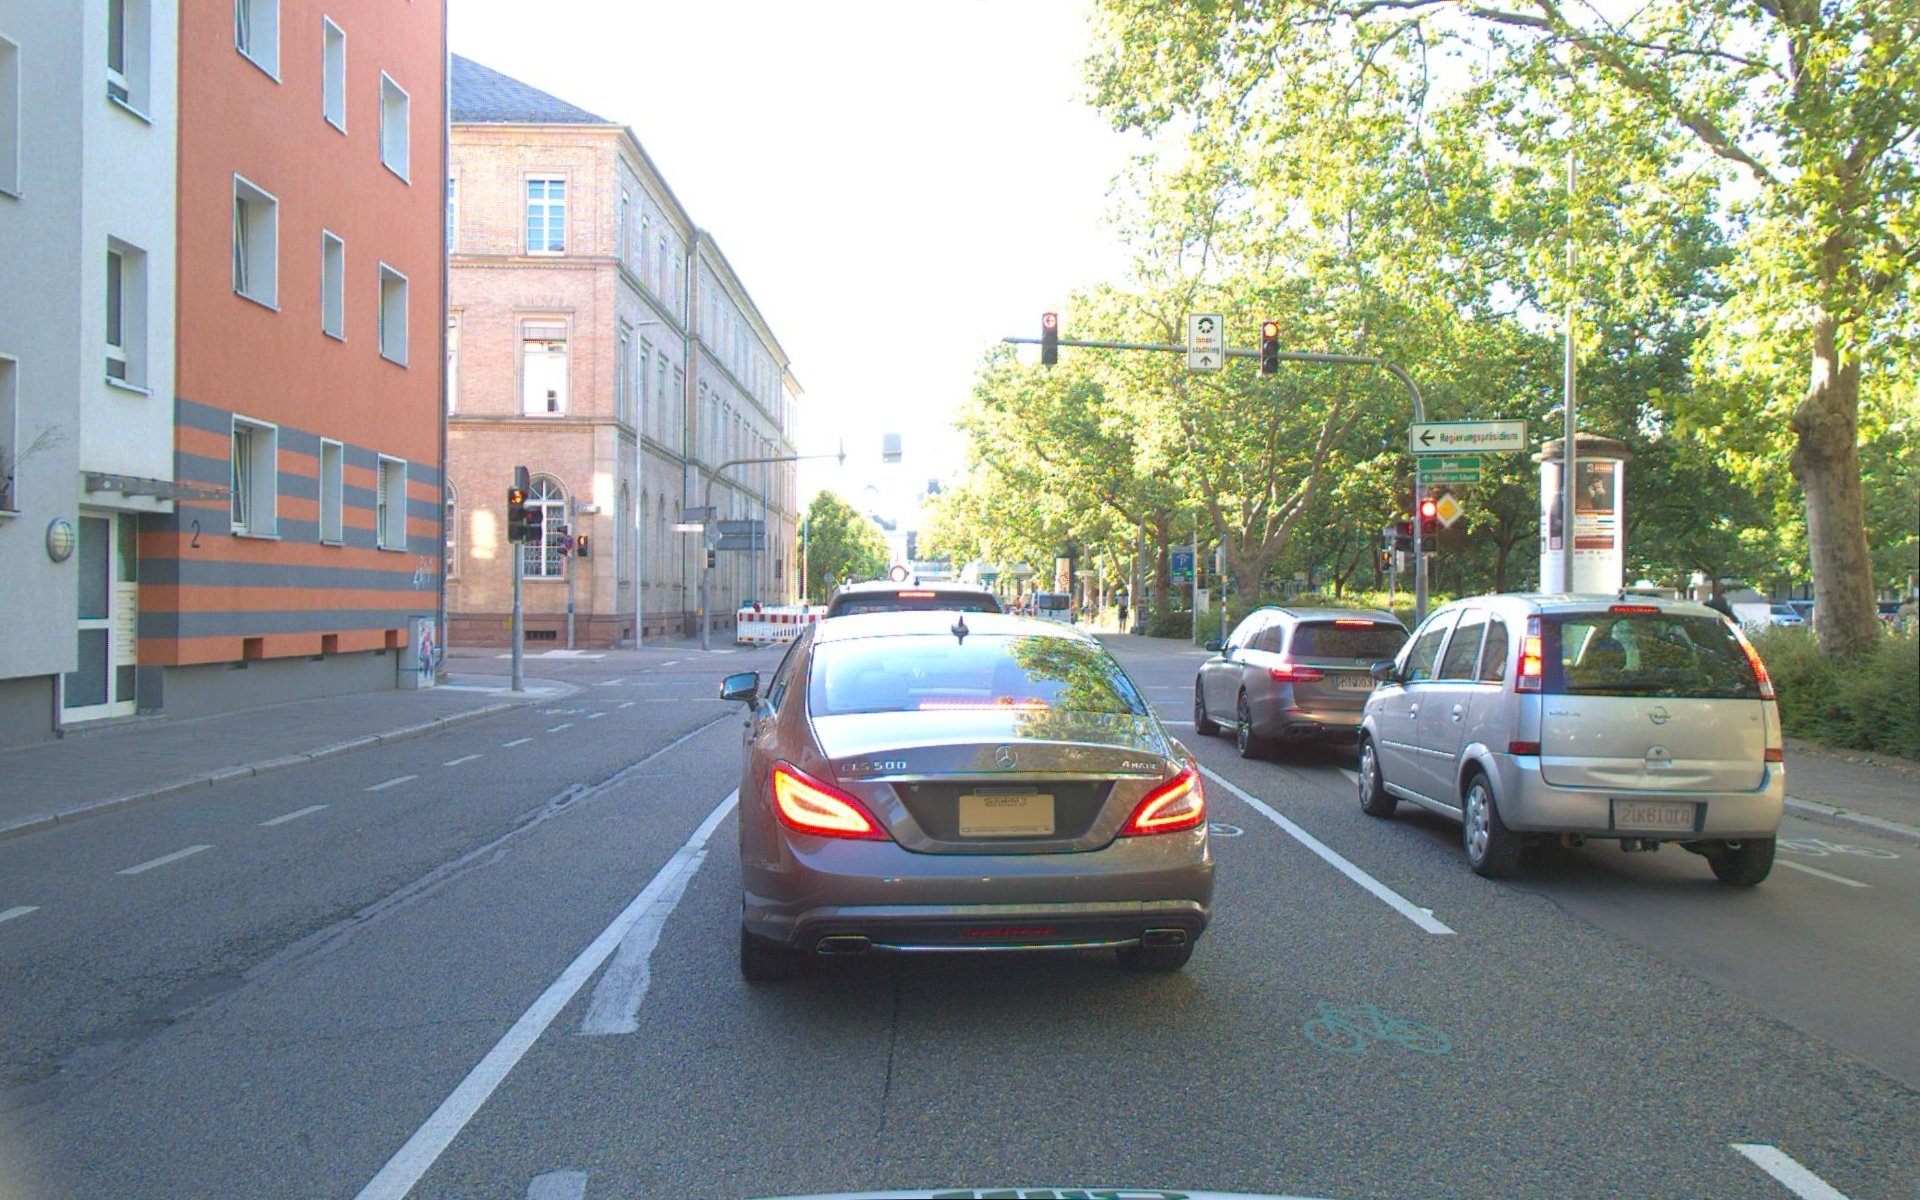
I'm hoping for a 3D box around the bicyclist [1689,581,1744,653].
[{"bbox_3d":[17.774,0.400,38.857,0.995,1.671,0.607,1,0,-7],"label":"bicyclist"}]

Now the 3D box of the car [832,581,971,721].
[{"bbox_3d":[-0.779,0.647,23.224,1.783,1.793,3.999,0,0,-1],"label":"car"}]

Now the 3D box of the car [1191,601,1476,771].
[{"bbox_3d":[3.754,0.788,17.491,1.874,1.490,4.668,2,0,-1],"label":"car"}]

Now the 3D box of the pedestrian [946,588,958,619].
[{"bbox_3d":[-0.496,0.221,108.059,0.710,2.049,0.748,1,0,-5],"label":"pedestrian"}]

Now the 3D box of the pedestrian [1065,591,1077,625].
[{"bbox_3d":[6.072,0.464,90.808,0.591,1.853,0.651,1,0,-1],"label":"pedestrian"}]

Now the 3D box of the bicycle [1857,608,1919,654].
[{"bbox_3d":[22.165,0.720,38.753,1.940,1.045,0.651,0,0,0],"label":"bicycle"}]

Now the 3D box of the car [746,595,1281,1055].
[{"bbox_3d":[-0.080,0.730,7.644,1.769,1.482,4.343,0,0,-8],"label":"car"}]

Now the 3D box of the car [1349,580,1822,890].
[{"bbox_3d":[3.792,0.713,10.758,1.666,1.631,3.860,1,0,1],"label":"car"}]

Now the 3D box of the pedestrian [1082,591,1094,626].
[{"bbox_3d":[6.989,0.461,90.568,0.591,1.853,0.651,1,0,-1],"label":"pedestrian"}]

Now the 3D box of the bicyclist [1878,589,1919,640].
[{"bbox_3d":[22.179,0.330,38.757,0.971,1.174,0.620,0,0,1],"label":"bicyclist"}]

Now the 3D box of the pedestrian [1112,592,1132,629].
[{"bbox_3d":[7.113,0.463,72.565,0.813,1.634,0.651,1,0,-1],"label":"pedestrian"}]

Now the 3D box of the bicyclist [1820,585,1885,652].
[{"bbox_3d":[20.410,0.418,37.838,1.094,1.516,0.711,0,0,-1],"label":"bicyclist"}]

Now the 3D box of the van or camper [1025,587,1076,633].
[{"bbox_3d":[4.014,0.444,73.991,1.953,1.975,4.593,1,0,-1],"label":"van or camper"}]

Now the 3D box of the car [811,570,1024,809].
[{"bbox_3d":[-0.389,0.633,13.650,1.487,1.675,3.878,1,0,-3],"label":"car"}]

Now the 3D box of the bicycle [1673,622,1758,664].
[{"bbox_3d":[17.743,1.009,38.853,1.760,0.963,0.613,1,0,-7],"label":"bicycle"}]
